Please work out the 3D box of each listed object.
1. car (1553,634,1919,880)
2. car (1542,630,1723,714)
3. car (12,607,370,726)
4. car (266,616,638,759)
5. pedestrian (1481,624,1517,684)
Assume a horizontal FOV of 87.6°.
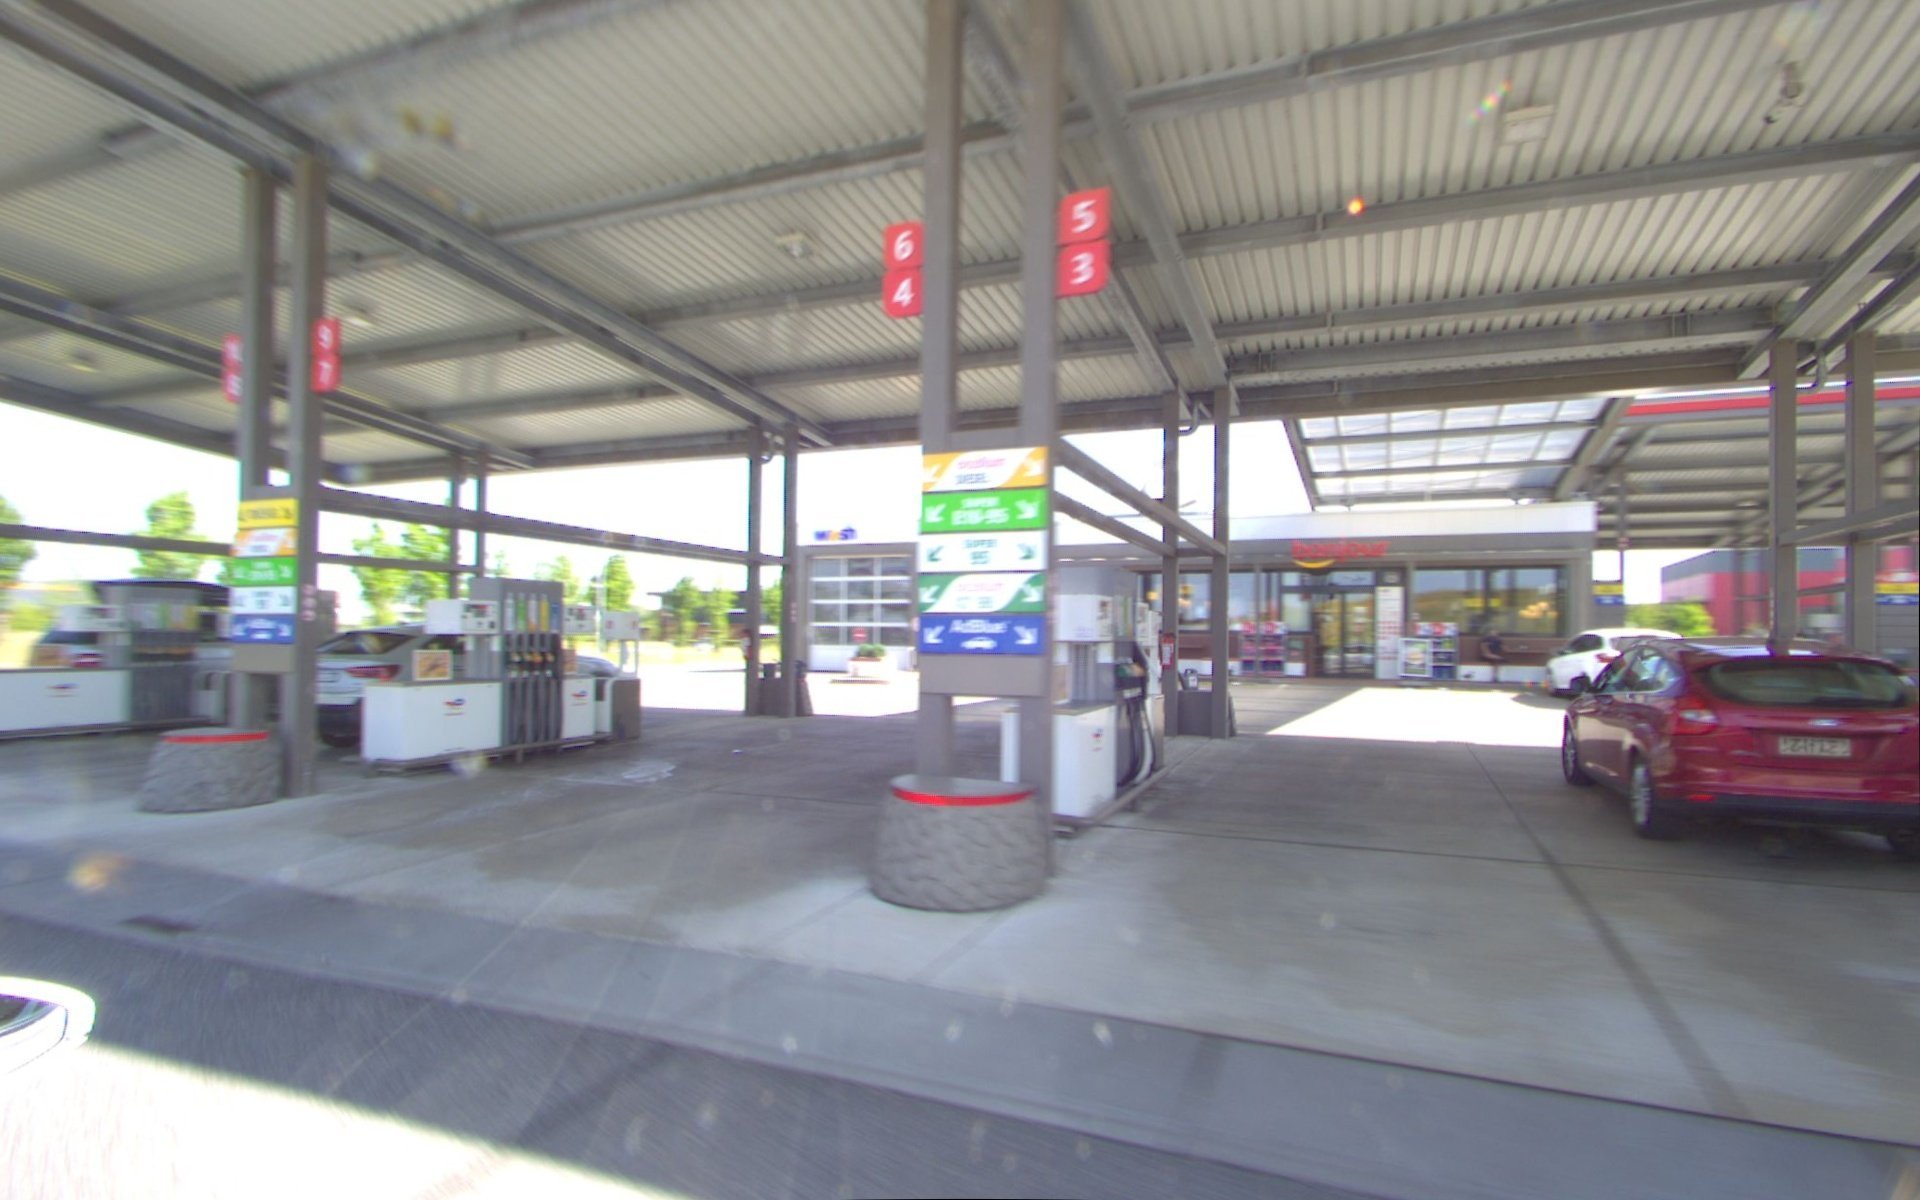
[{"bbox_3d":[6.233,1.036,8.296,1.675,1.487,4.223,0,-2,22],"label":"car"},{"bbox_3d":[13.256,1.348,20.047,1.803,1.475,4.316,0,-2,17],"label":"car"},{"bbox_3d":[-12.632,1.021,16.883,1.832,1.709,4.529,0,-1,19],"label":"car"},{"bbox_3d":[-6.462,1.033,13.344,1.756,1.561,4.315,0,-2,23],"label":"car"},{"bbox_3d":[13.277,1.310,24.678,0.691,1.450,0.671,0,-1,22],"label":"pedestrian"}]
